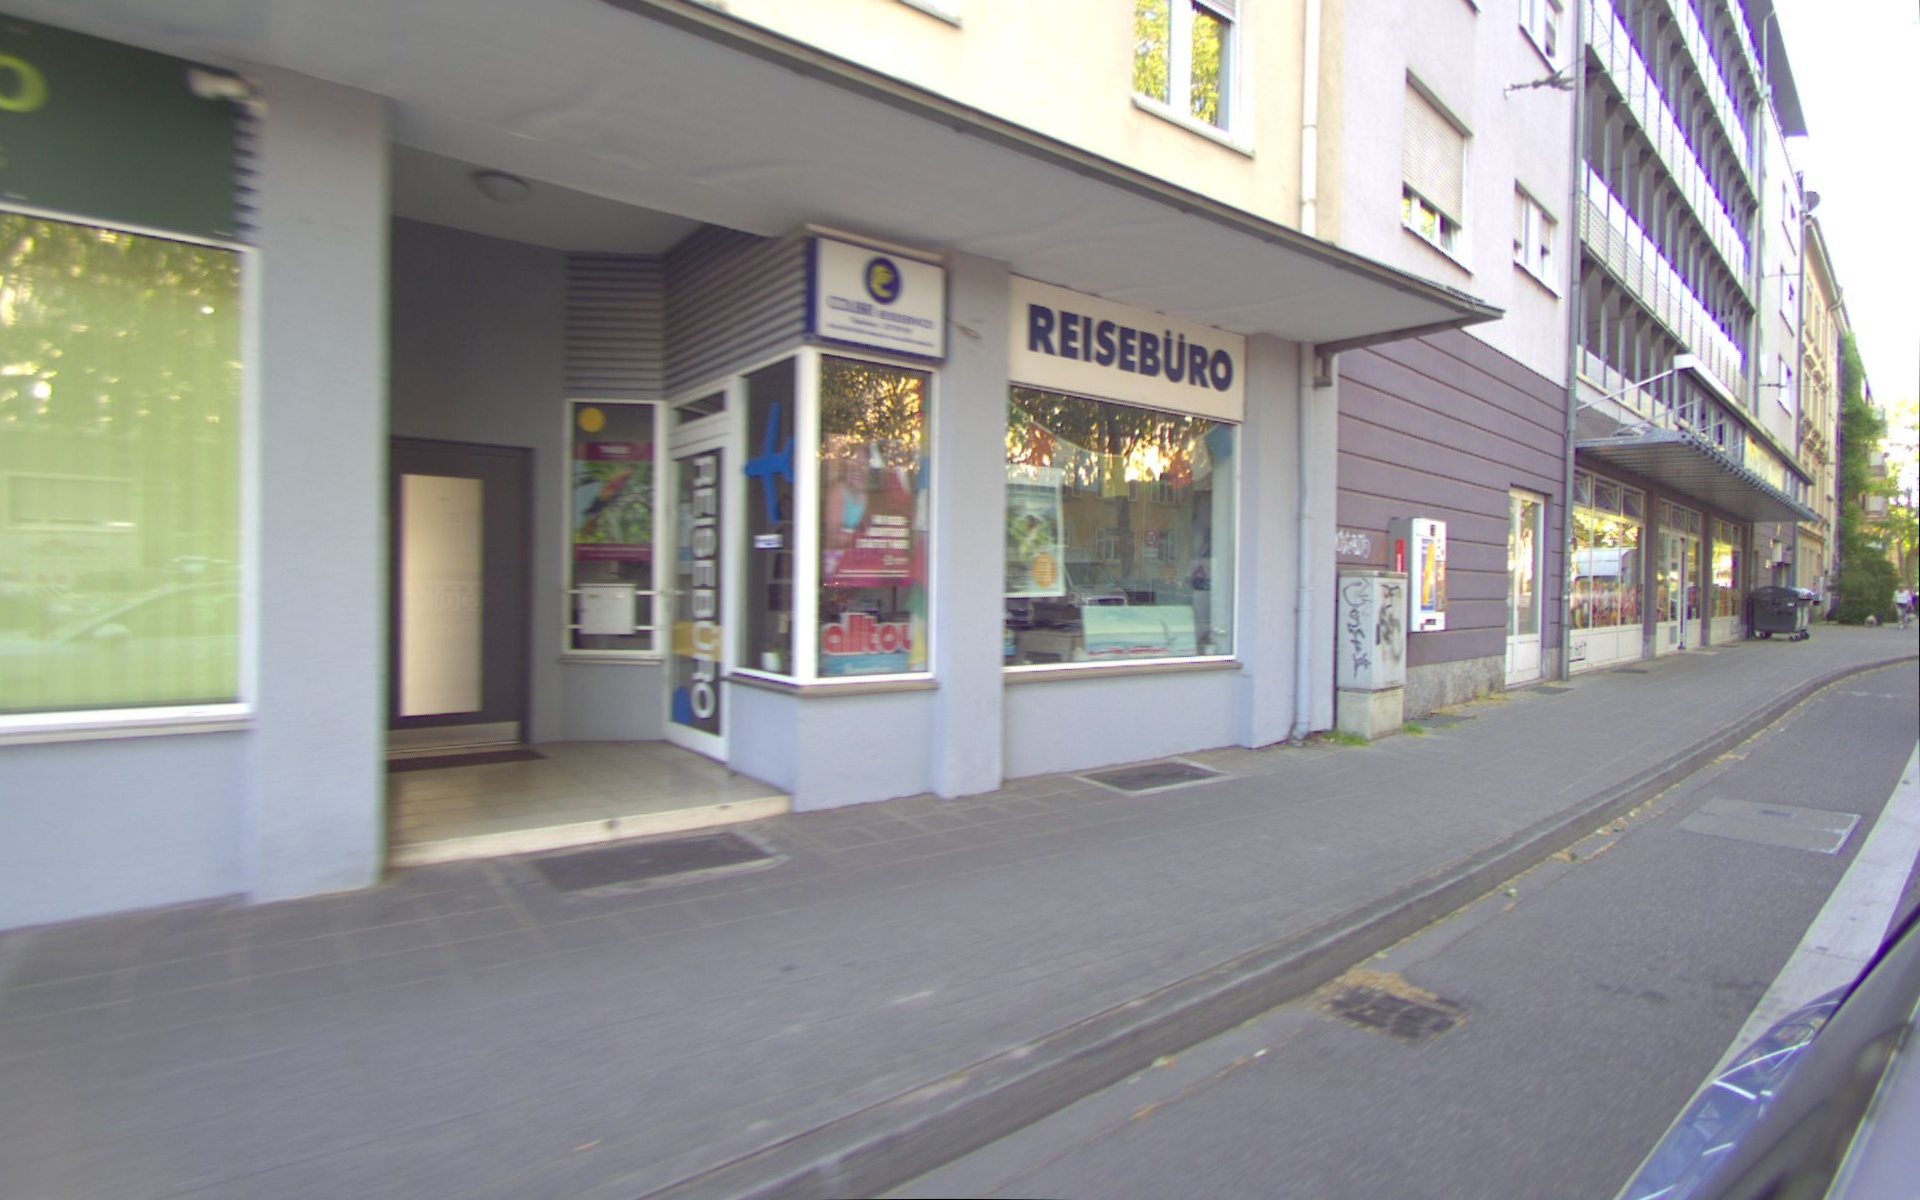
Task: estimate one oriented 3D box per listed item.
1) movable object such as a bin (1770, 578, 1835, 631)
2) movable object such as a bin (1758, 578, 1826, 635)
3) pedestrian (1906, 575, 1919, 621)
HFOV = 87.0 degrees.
[{"bbox_3d":[23.336,0.110,28.039,1.348,1.427,1.202,0,1,-42],"label":"movable object such as a bin"},{"bbox_3d":[21.925,0.155,26.668,1.348,1.427,1.202,0,1,-42],"label":"movable object such as a bin"},{"bbox_3d":[35.916,-0.085,37.986,0.619,1.693,0.540,0,1,-42],"label":"pedestrian"}]
